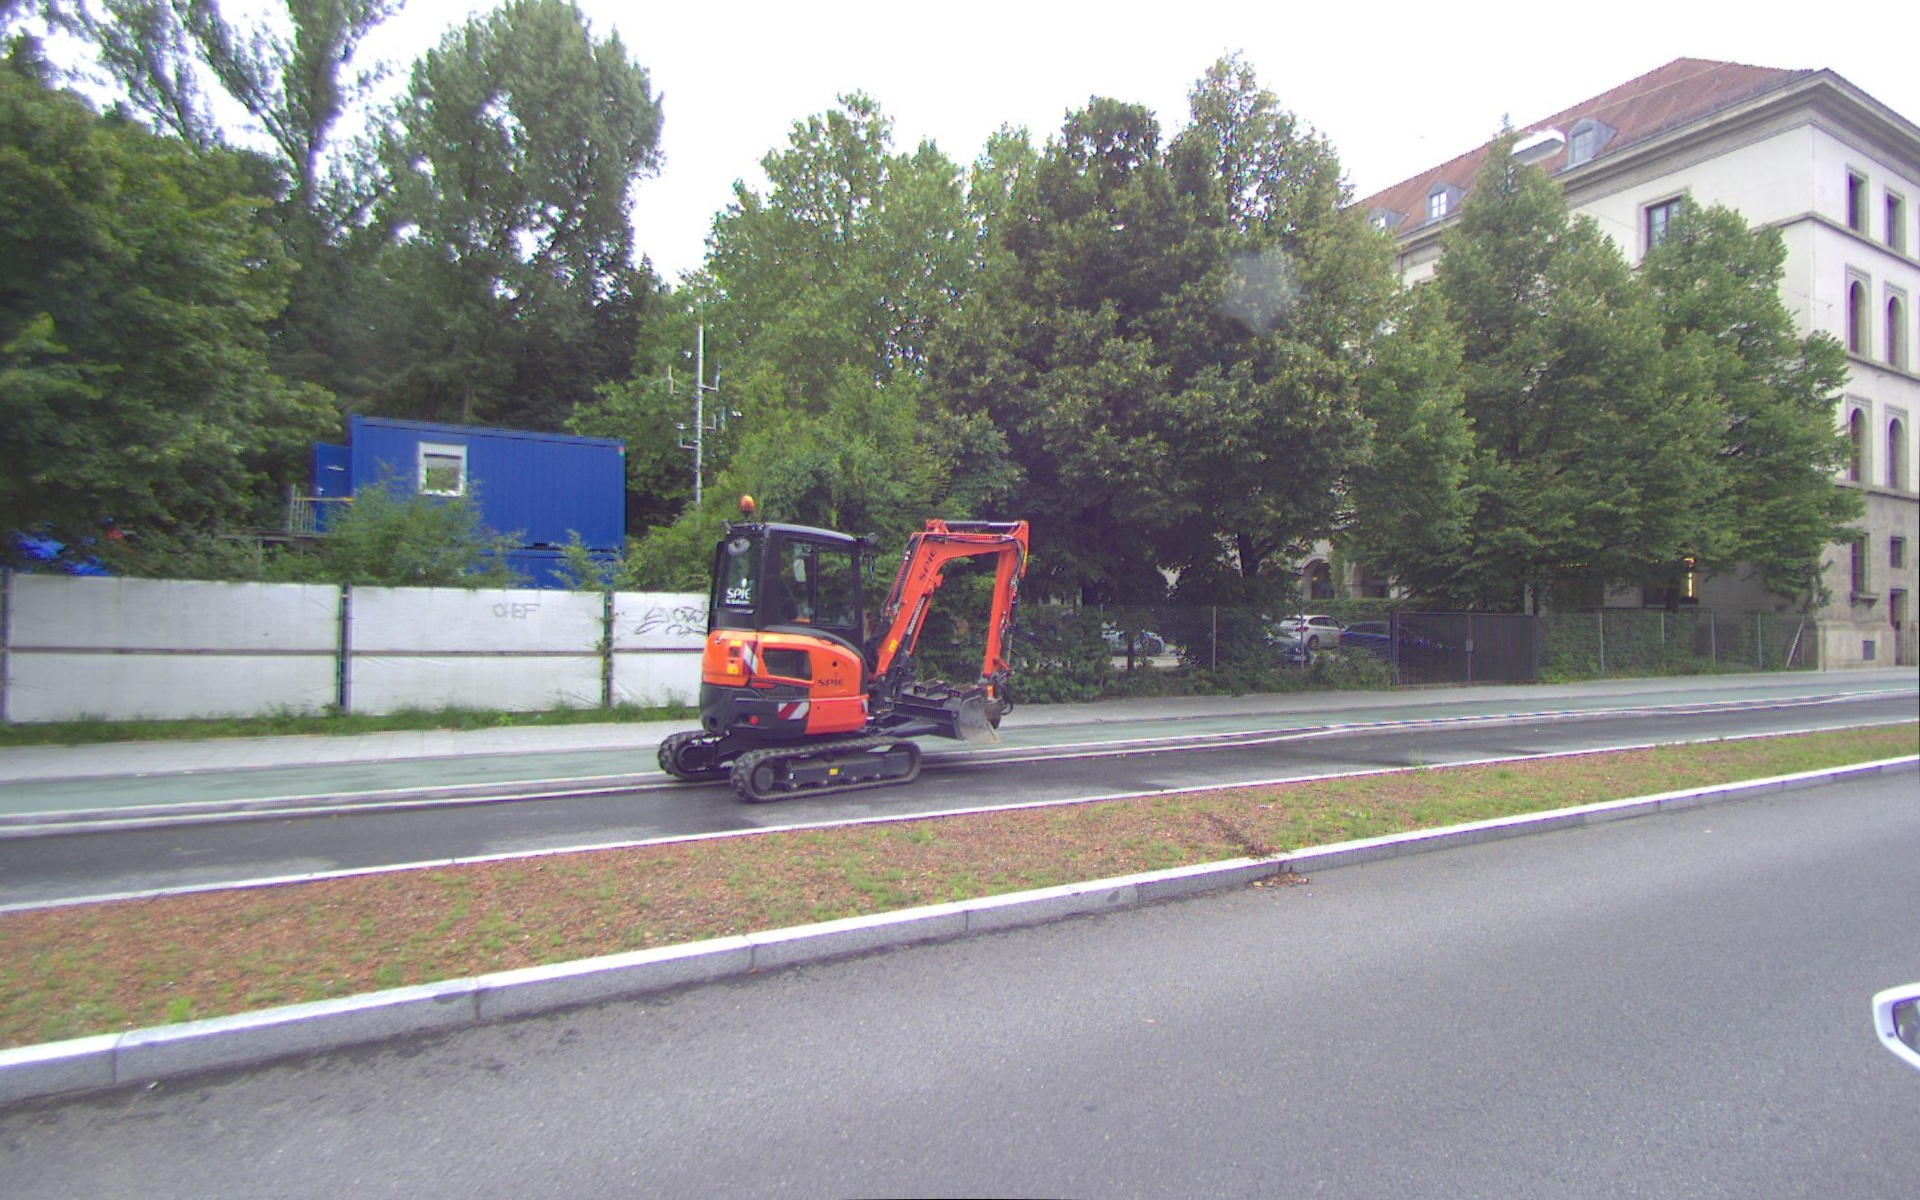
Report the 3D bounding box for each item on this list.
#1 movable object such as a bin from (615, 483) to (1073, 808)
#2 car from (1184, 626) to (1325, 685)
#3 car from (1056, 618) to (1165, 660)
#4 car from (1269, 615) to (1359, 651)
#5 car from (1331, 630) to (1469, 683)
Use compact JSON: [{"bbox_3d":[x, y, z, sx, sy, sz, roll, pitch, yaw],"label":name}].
[{"bbox_3d":[-1.009,0.433,10.646,1.973,2.676,4.636,-1,-2,45],"label":"movable object such as a bin"},{"bbox_3d":[8.817,1.612,30.362,1.815,1.566,3.908,0,0,-31],"label":"car"},{"bbox_3d":[6.015,1.521,40.058,4.129,1.566,1.821,0,0,-31],"label":"car"},{"bbox_3d":[16.180,1.460,45.905,3.895,1.566,1.821,0,0,-31],"label":"car"},{"bbox_3d":[14.580,1.827,33.446,1.815,1.566,3.908,0,0,-31],"label":"car"}]
